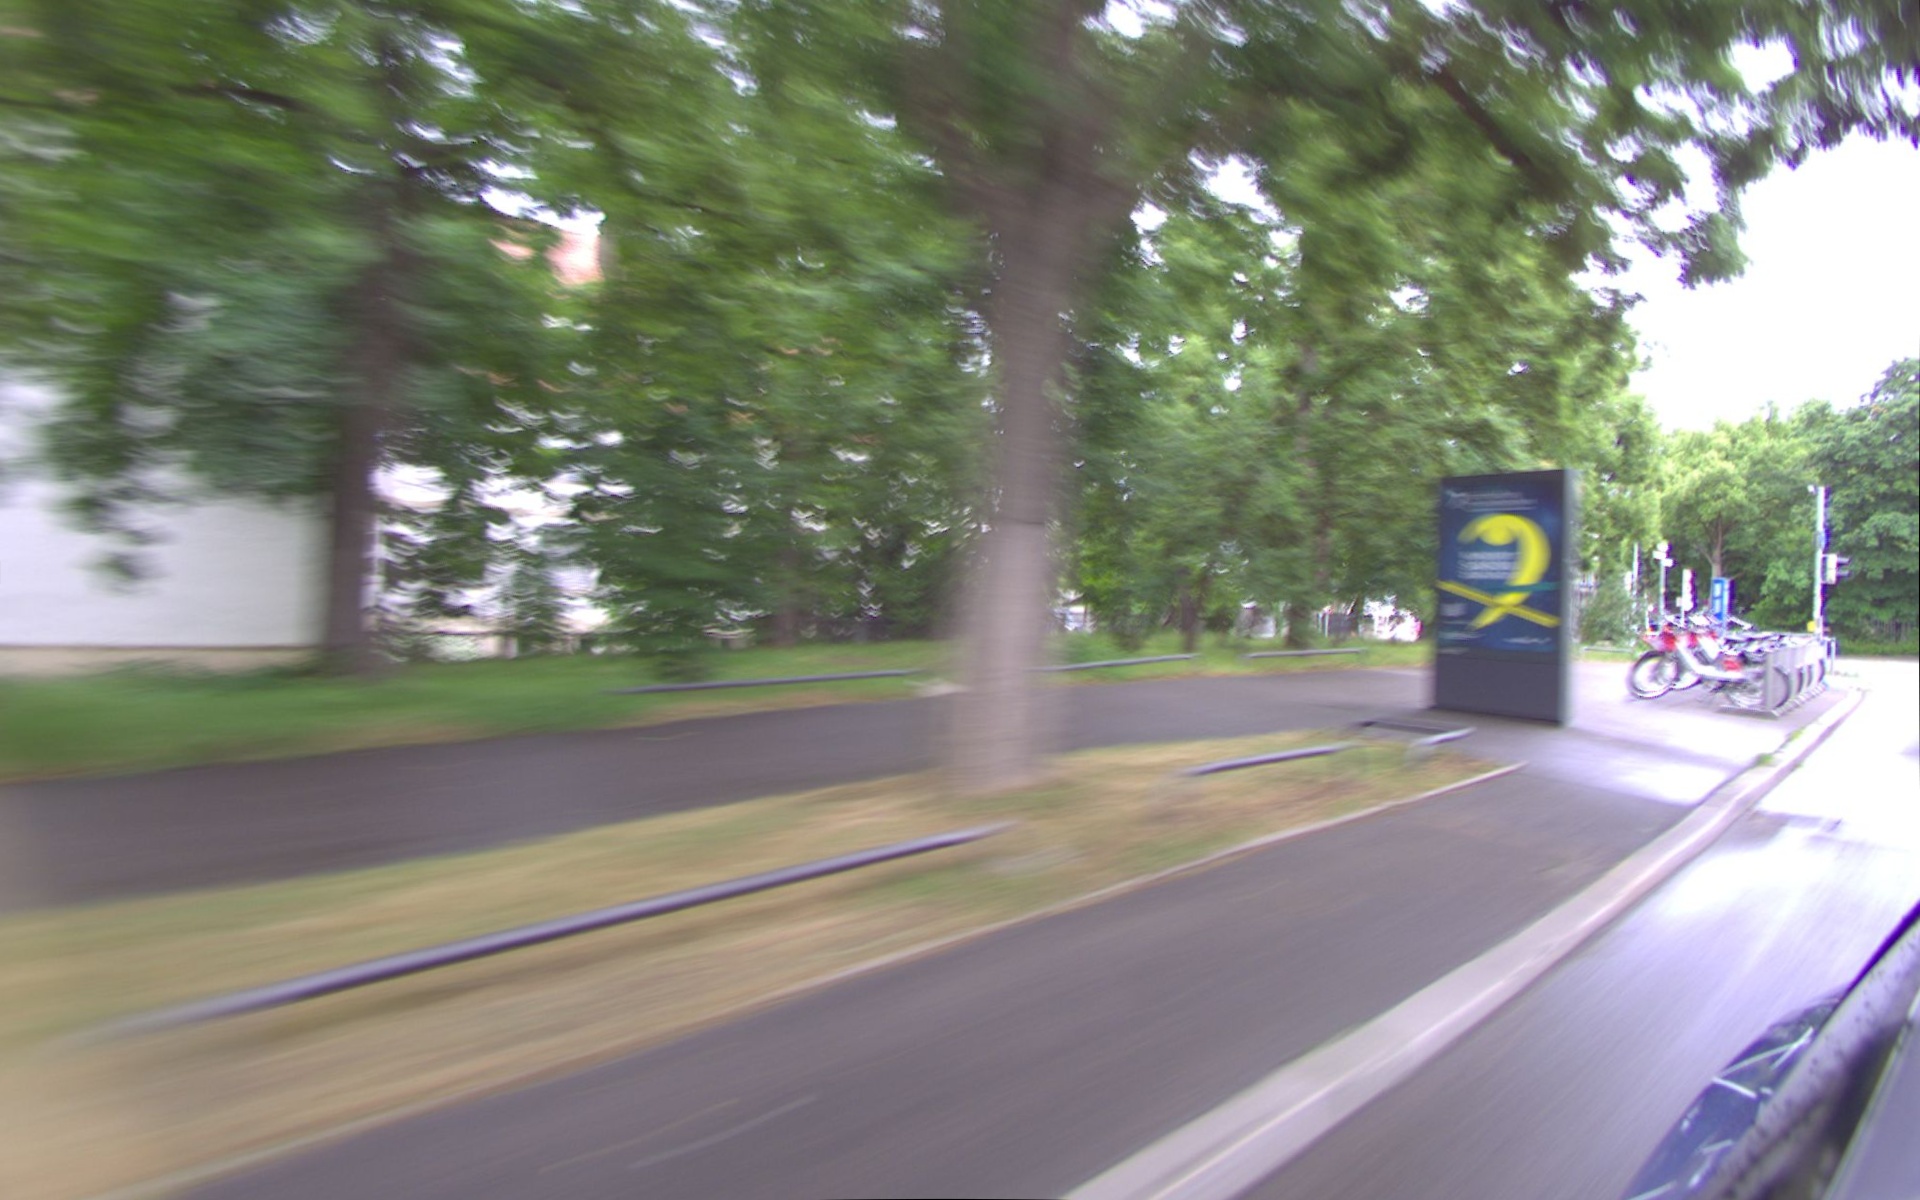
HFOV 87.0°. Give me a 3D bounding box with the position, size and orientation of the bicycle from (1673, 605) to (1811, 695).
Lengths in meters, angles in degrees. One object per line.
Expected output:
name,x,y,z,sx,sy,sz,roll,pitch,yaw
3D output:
bicycle,11.444,0.702,14.844,0.548,1.145,1.487,0,4,-45

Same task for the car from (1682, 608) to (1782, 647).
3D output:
car,42.871,1.501,56.285,3.929,2.039,1.997,1,-1,5

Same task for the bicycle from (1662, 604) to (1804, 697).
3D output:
bicycle,10.908,0.683,14.310,0.548,1.145,1.487,0,4,-45

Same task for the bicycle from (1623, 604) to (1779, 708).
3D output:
bicycle,9.388,0.679,12.856,0.548,1.145,1.487,0,4,-45

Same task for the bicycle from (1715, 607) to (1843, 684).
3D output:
bicycle,13.913,0.744,17.224,0.548,1.145,1.597,0,4,-45

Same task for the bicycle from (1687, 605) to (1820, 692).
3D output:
bicycle,12.036,0.711,15.381,0.548,1.145,1.487,0,4,-45

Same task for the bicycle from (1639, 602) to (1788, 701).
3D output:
bicycle,10.065,0.655,13.550,0.548,1.145,1.487,0,4,-45
